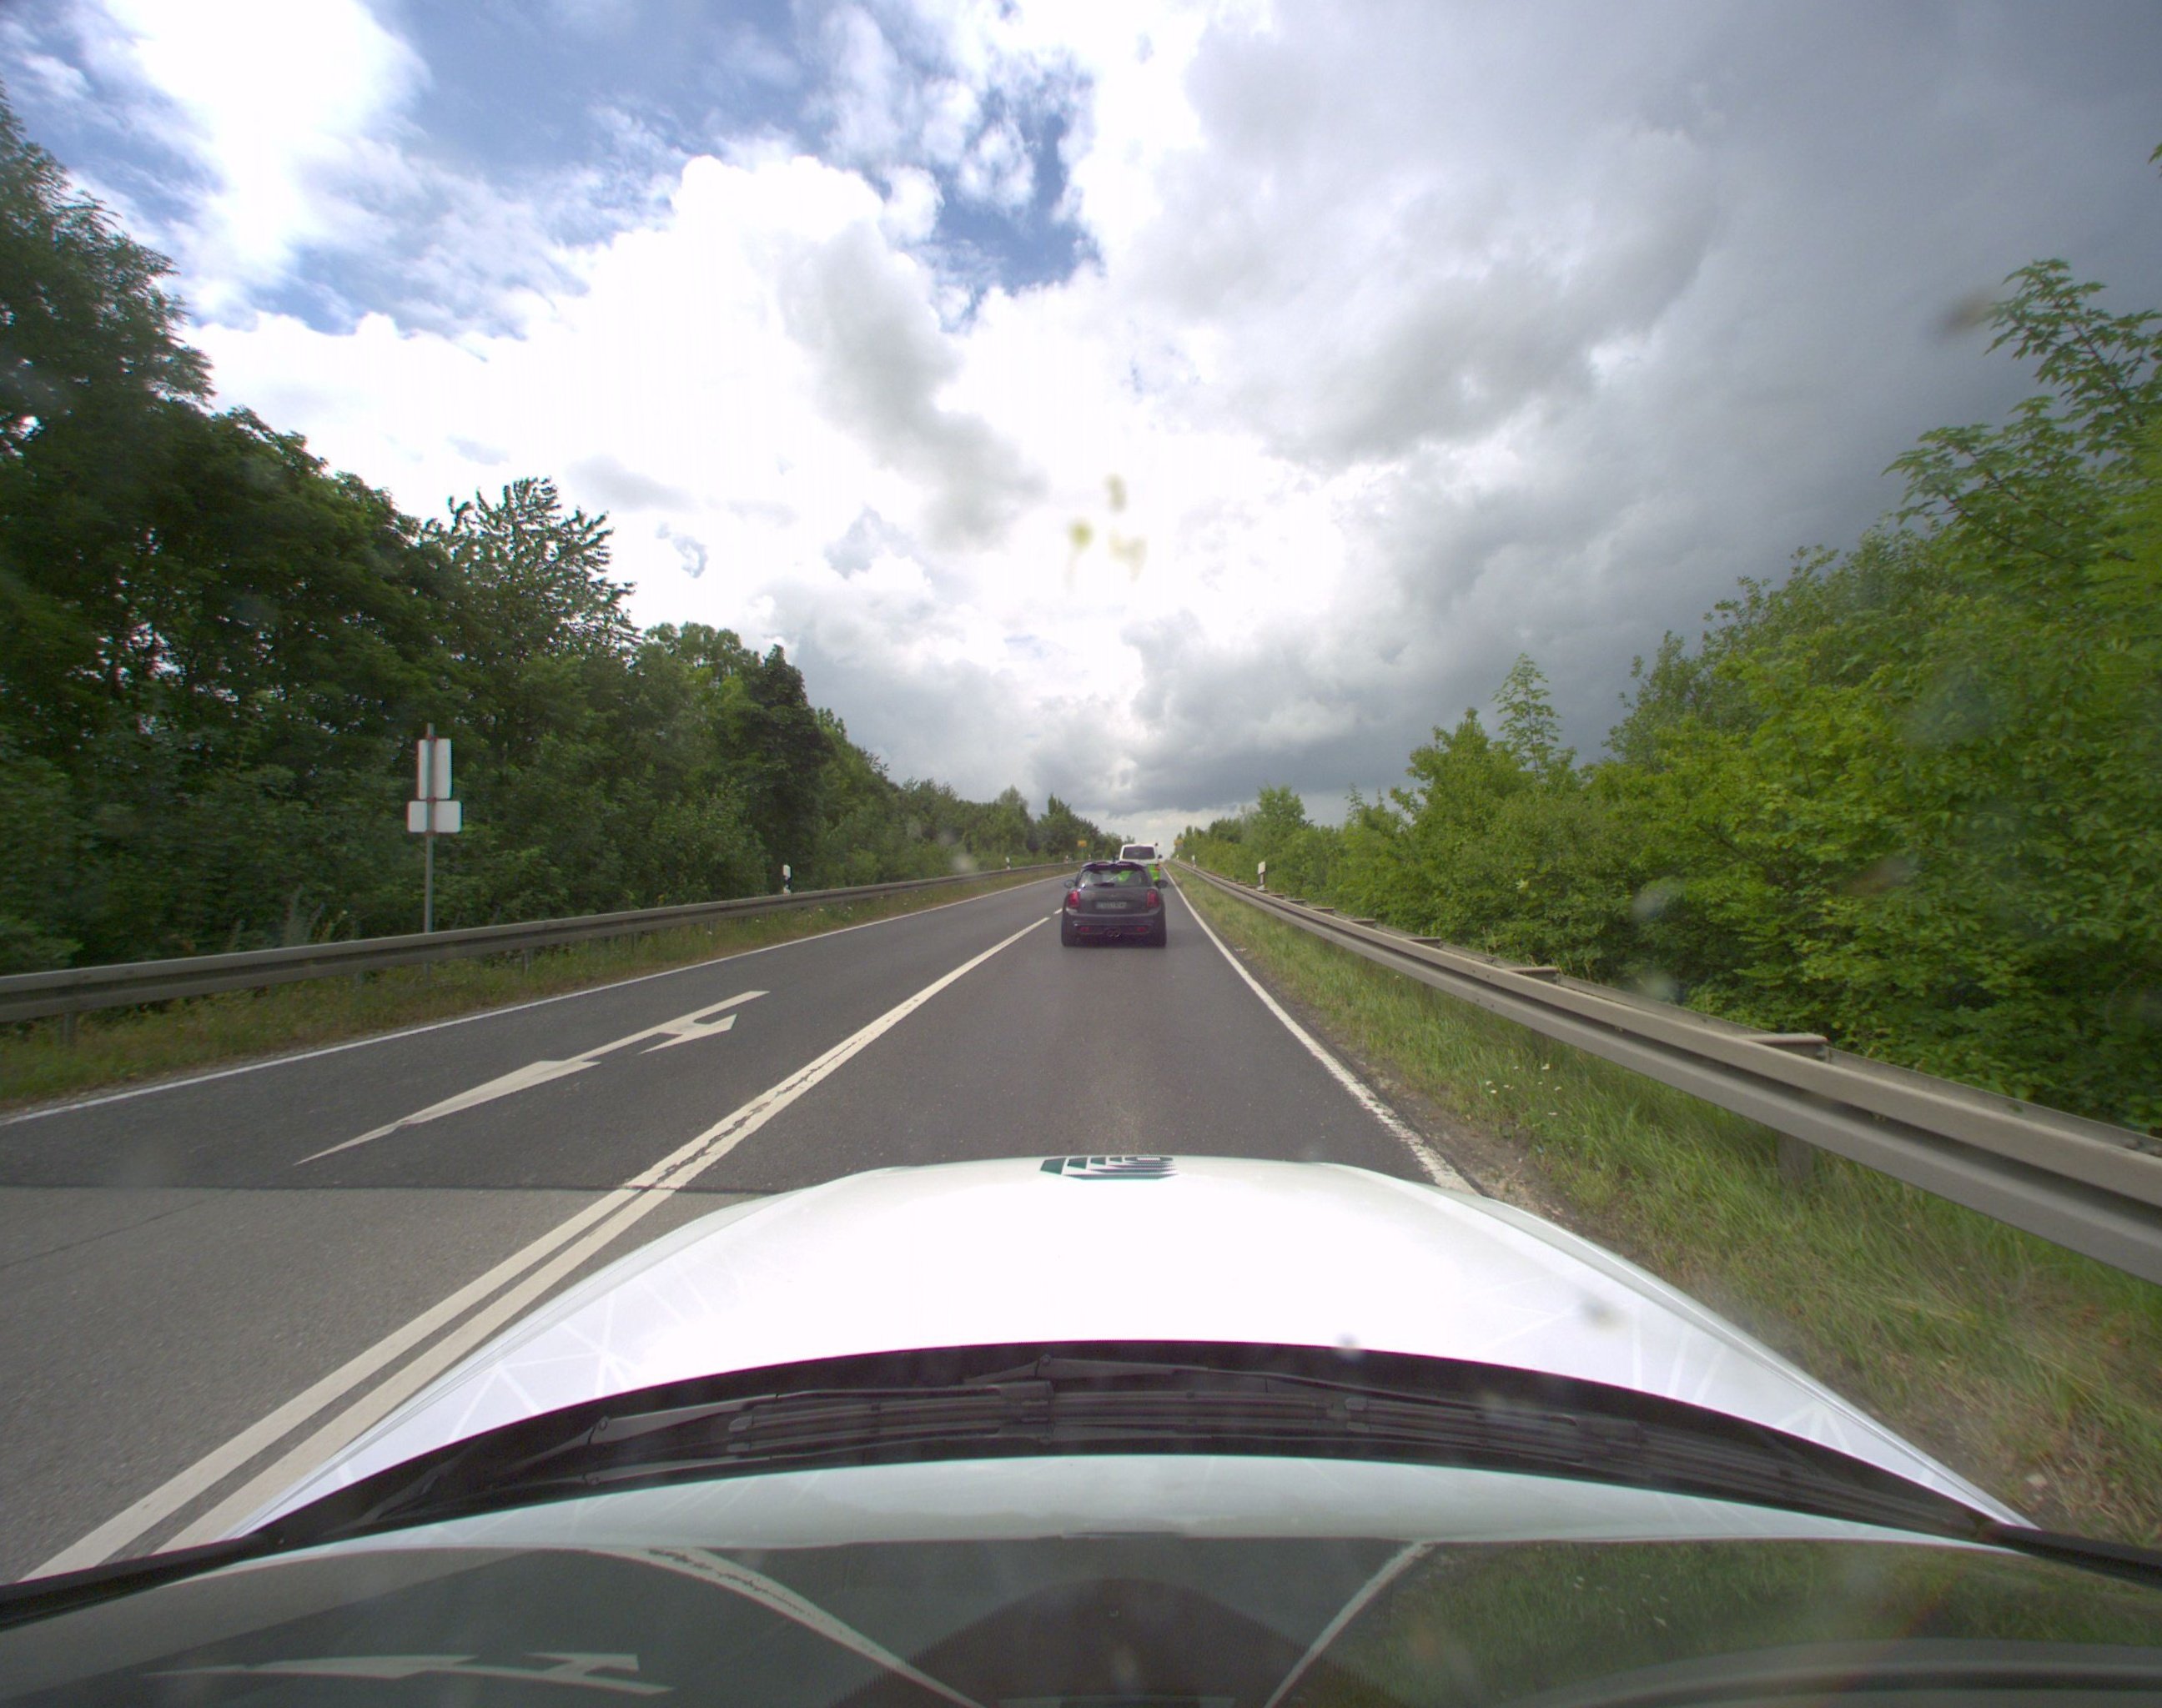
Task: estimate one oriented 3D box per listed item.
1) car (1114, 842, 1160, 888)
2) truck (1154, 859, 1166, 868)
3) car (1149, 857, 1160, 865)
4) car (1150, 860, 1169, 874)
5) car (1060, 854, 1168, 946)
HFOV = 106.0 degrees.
[{"bbox_3d":[2.612,0.472,37.465,2.013,2.013,4.006,1,0,5],"label":"car"},{"bbox_3d":[22.989,2.717,235.665,2.894,2.372,10.474,-3,0,8],"label":"truck"},{"bbox_3d":[12.627,1.242,140.082,1.685,1.319,4.008,-2,0,7],"label":"car"},{"bbox_3d":[7.716,1.304,79.977,1.685,1.222,4.007,-2,-3,7],"label":"car"},{"bbox_3d":[0.558,0.739,14.972,1.726,1.456,4.000,0,0,1],"label":"car"}]
